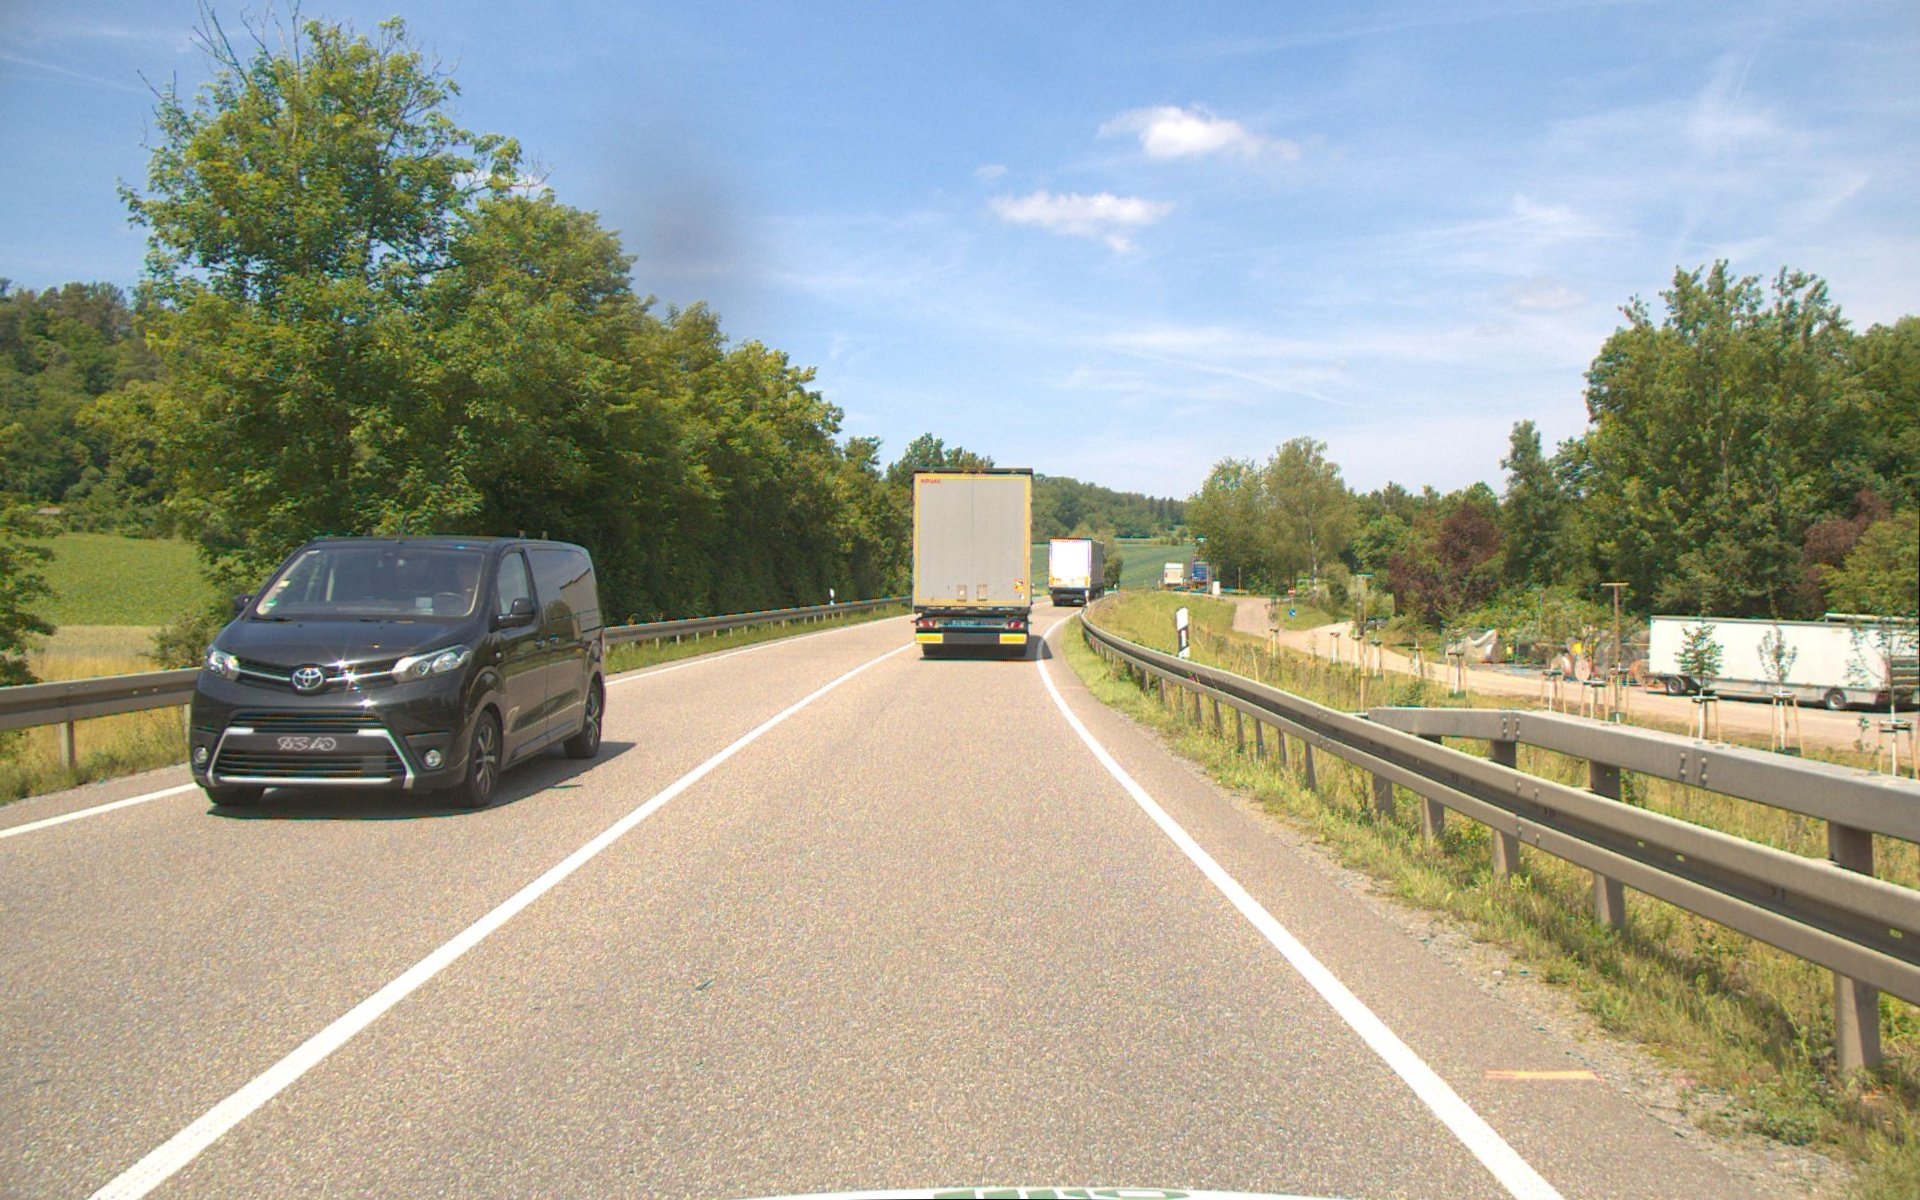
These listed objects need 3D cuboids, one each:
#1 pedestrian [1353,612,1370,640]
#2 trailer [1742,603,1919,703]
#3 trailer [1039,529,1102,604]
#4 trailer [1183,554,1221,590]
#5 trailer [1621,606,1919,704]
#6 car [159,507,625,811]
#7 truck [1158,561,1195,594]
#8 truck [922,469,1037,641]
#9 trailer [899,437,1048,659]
[{"bbox_3d":[27.497,1.779,113.346,0.866,1.842,0.960,-2,1,2],"label":"pedestrian"},{"bbox_3d":[37.031,2.084,65.645,2.685,3.669,11.798,1,1,-26],"label":"trailer"},{"bbox_3d":[7.152,-1.975,104.964,3.293,4.392,13.874,0,0,7],"label":"trailer"},{"bbox_3d":[30.545,-3.503,208.584,3.570,4.337,12.204,0,0,14],"label":"trailer"},{"bbox_3d":[32.741,2.089,67.528,2.687,3.386,11.788,0,1,-28],"label":"trailer"},{"bbox_3d":[-4.088,0.352,12.978,1.882,1.892,5.175,1,0,0],"label":"car"},{"bbox_3d":[24.494,-2.497,186.945,3.154,3.424,11.885,0,0,12],"label":"truck"},{"bbox_3d":[0.634,-1.260,47.843,3.053,4.573,6.813,1,1,2],"label":"truck"},{"bbox_3d":[0.439,-1.179,41.165,3.054,4.578,13.889,1,1,1],"label":"trailer"}]
